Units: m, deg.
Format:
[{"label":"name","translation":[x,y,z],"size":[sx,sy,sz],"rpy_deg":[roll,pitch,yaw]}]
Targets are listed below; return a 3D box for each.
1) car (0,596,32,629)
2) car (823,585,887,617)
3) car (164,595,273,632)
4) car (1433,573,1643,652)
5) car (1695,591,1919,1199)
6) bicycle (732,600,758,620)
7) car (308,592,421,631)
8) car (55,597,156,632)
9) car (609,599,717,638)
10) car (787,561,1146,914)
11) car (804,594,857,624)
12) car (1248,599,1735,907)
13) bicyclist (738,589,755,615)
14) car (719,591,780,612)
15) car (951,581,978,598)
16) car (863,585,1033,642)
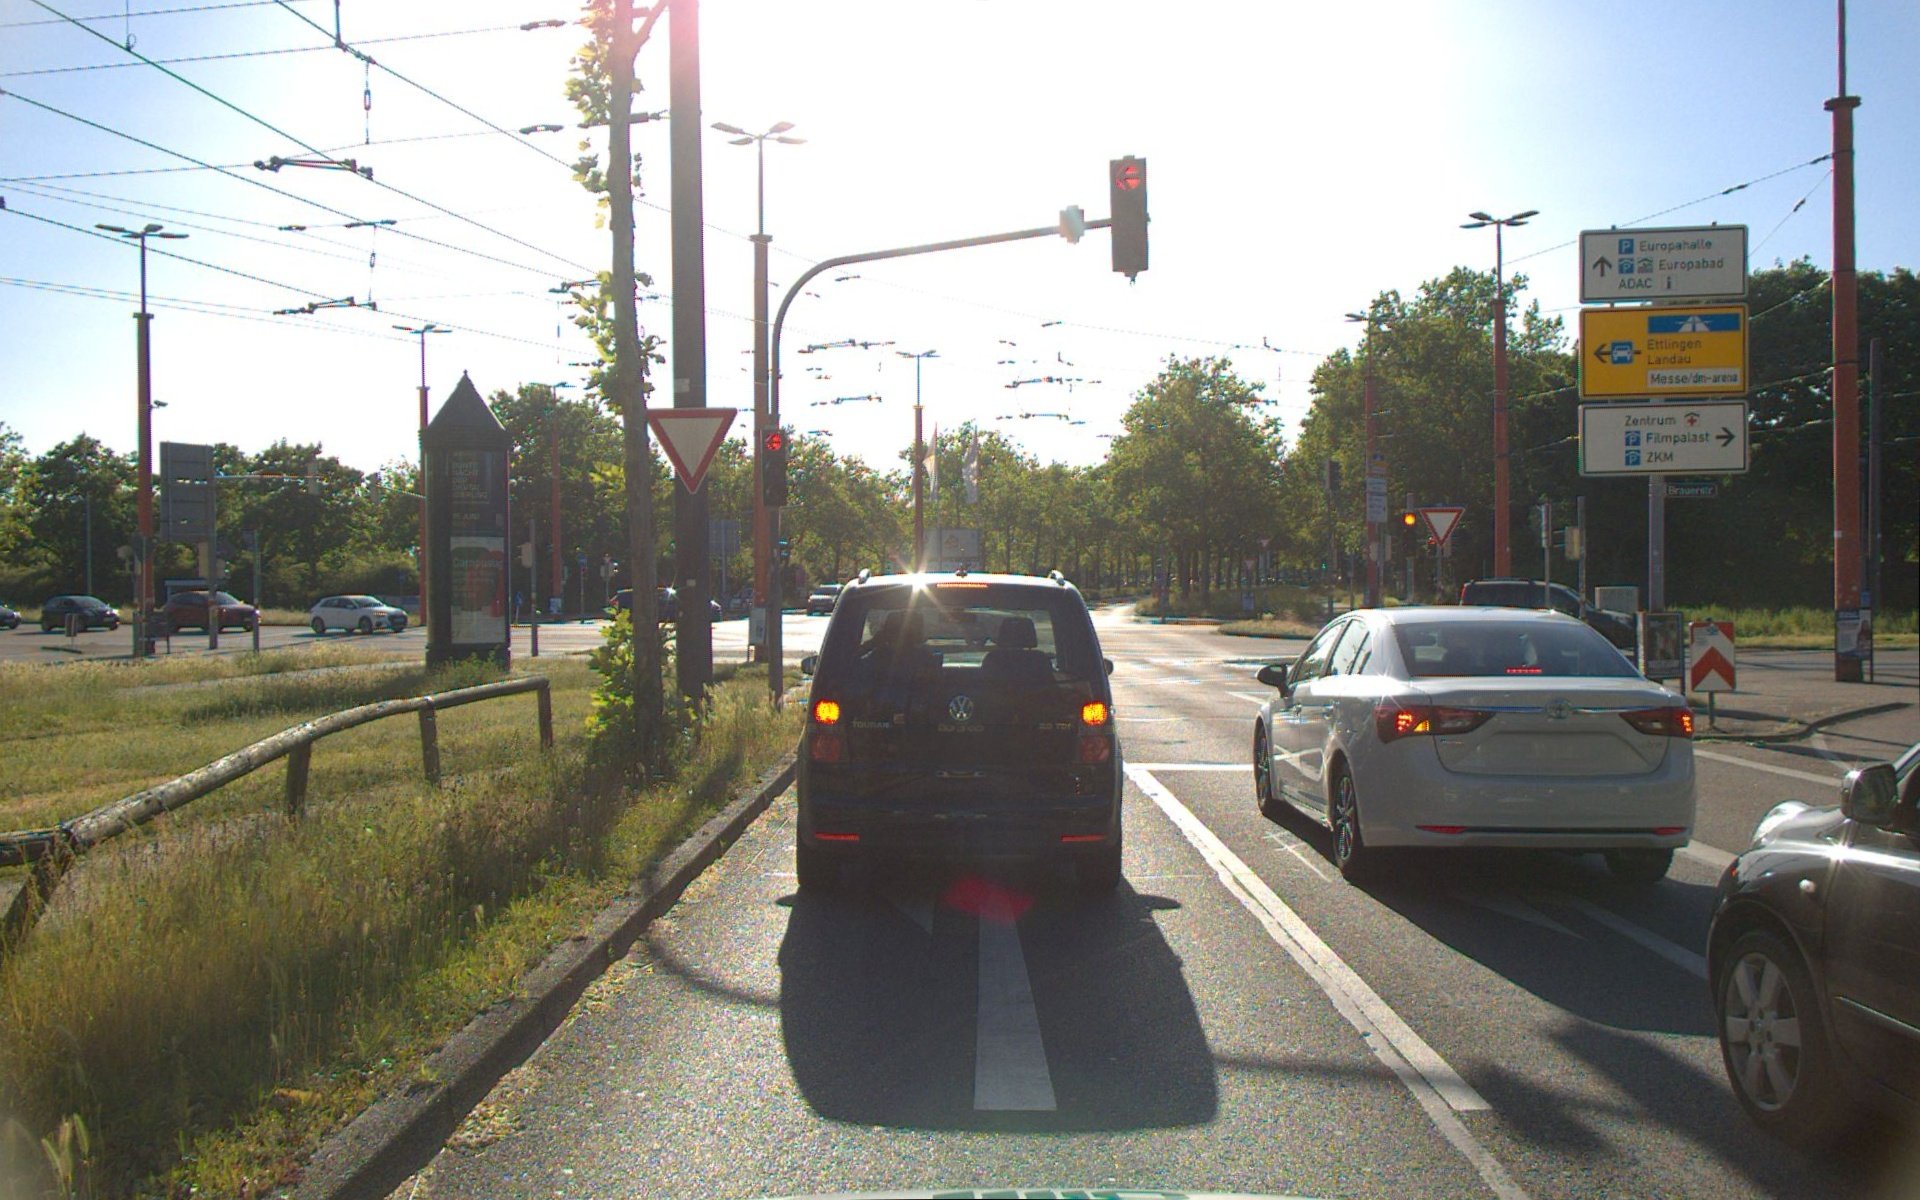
[{"label":"car","translation":[-44.897,0.585,75.967],"size":[4.143,1.489,1.913],"rpy_deg":[0,0,26]},{"label":"car","translation":[-5.784,0.028,91.620],"size":[1.951,1.714,4.831],"rpy_deg":[0,0,17]},{"label":"car","translation":[-30.850,0.555,68.821],"size":[4.275,1.489,1.912],"rpy_deg":[0,0,27]},{"label":"car","translation":[14.275,0.303,40.899],"size":[4.687,1.868,1.912],"rpy_deg":[0,0,27]},{"label":"car","translation":[3.125,0.743,3.511],"size":[1.525,1.532,3.515],"rpy_deg":[0,0,-1]},{"label":"bicycle","translation":[-12.231,0.570,94.222],"size":[0.719,1.109,1.962],"rpy_deg":[0,0,18]},{"label":"car","translation":[-23.404,0.441,64.973],"size":[4.127,1.489,1.912],"rpy_deg":[0,0,27]},{"label":"car","translation":[-37.125,0.607,71.850],"size":[3.963,1.489,1.912],"rpy_deg":[0,0,26]},{"label":"car","translation":[-11.886,0.729,66.401],"size":[4.128,1.489,1.911],"rpy_deg":[0,0,-7]},{"label":"car","translation":[0.004,0.644,9.866],"size":[1.702,1.670,3.999],"rpy_deg":[0,0,-1]},{"label":"car","translation":[-7.729,0.529,99.220],"size":[1.951,1.714,4.833],"rpy_deg":[0,0,10]},{"label":"car","translation":[2.946,0.740,10.111],"size":[1.679,1.480,4.144],"rpy_deg":[0,0,0]},{"label":"bicyclist","translation":[-12.201,0.095,94.442],"size":[0.678,1.483,0.875],"rpy_deg":[0,0,17]},{"label":"car","translation":[-13.631,0.089,107.297],"size":[1.634,1.333,3.791],"rpy_deg":[0,0,42]},{"label":"car","translation":[0.452,-1.066,173.091],"size":[1.951,1.714,4.833],"rpy_deg":[0,0,11]},{"label":"car","translation":[-0.357,0.387,48.904],"size":[4.687,1.626,1.912],"rpy_deg":[0,0,27]}]
